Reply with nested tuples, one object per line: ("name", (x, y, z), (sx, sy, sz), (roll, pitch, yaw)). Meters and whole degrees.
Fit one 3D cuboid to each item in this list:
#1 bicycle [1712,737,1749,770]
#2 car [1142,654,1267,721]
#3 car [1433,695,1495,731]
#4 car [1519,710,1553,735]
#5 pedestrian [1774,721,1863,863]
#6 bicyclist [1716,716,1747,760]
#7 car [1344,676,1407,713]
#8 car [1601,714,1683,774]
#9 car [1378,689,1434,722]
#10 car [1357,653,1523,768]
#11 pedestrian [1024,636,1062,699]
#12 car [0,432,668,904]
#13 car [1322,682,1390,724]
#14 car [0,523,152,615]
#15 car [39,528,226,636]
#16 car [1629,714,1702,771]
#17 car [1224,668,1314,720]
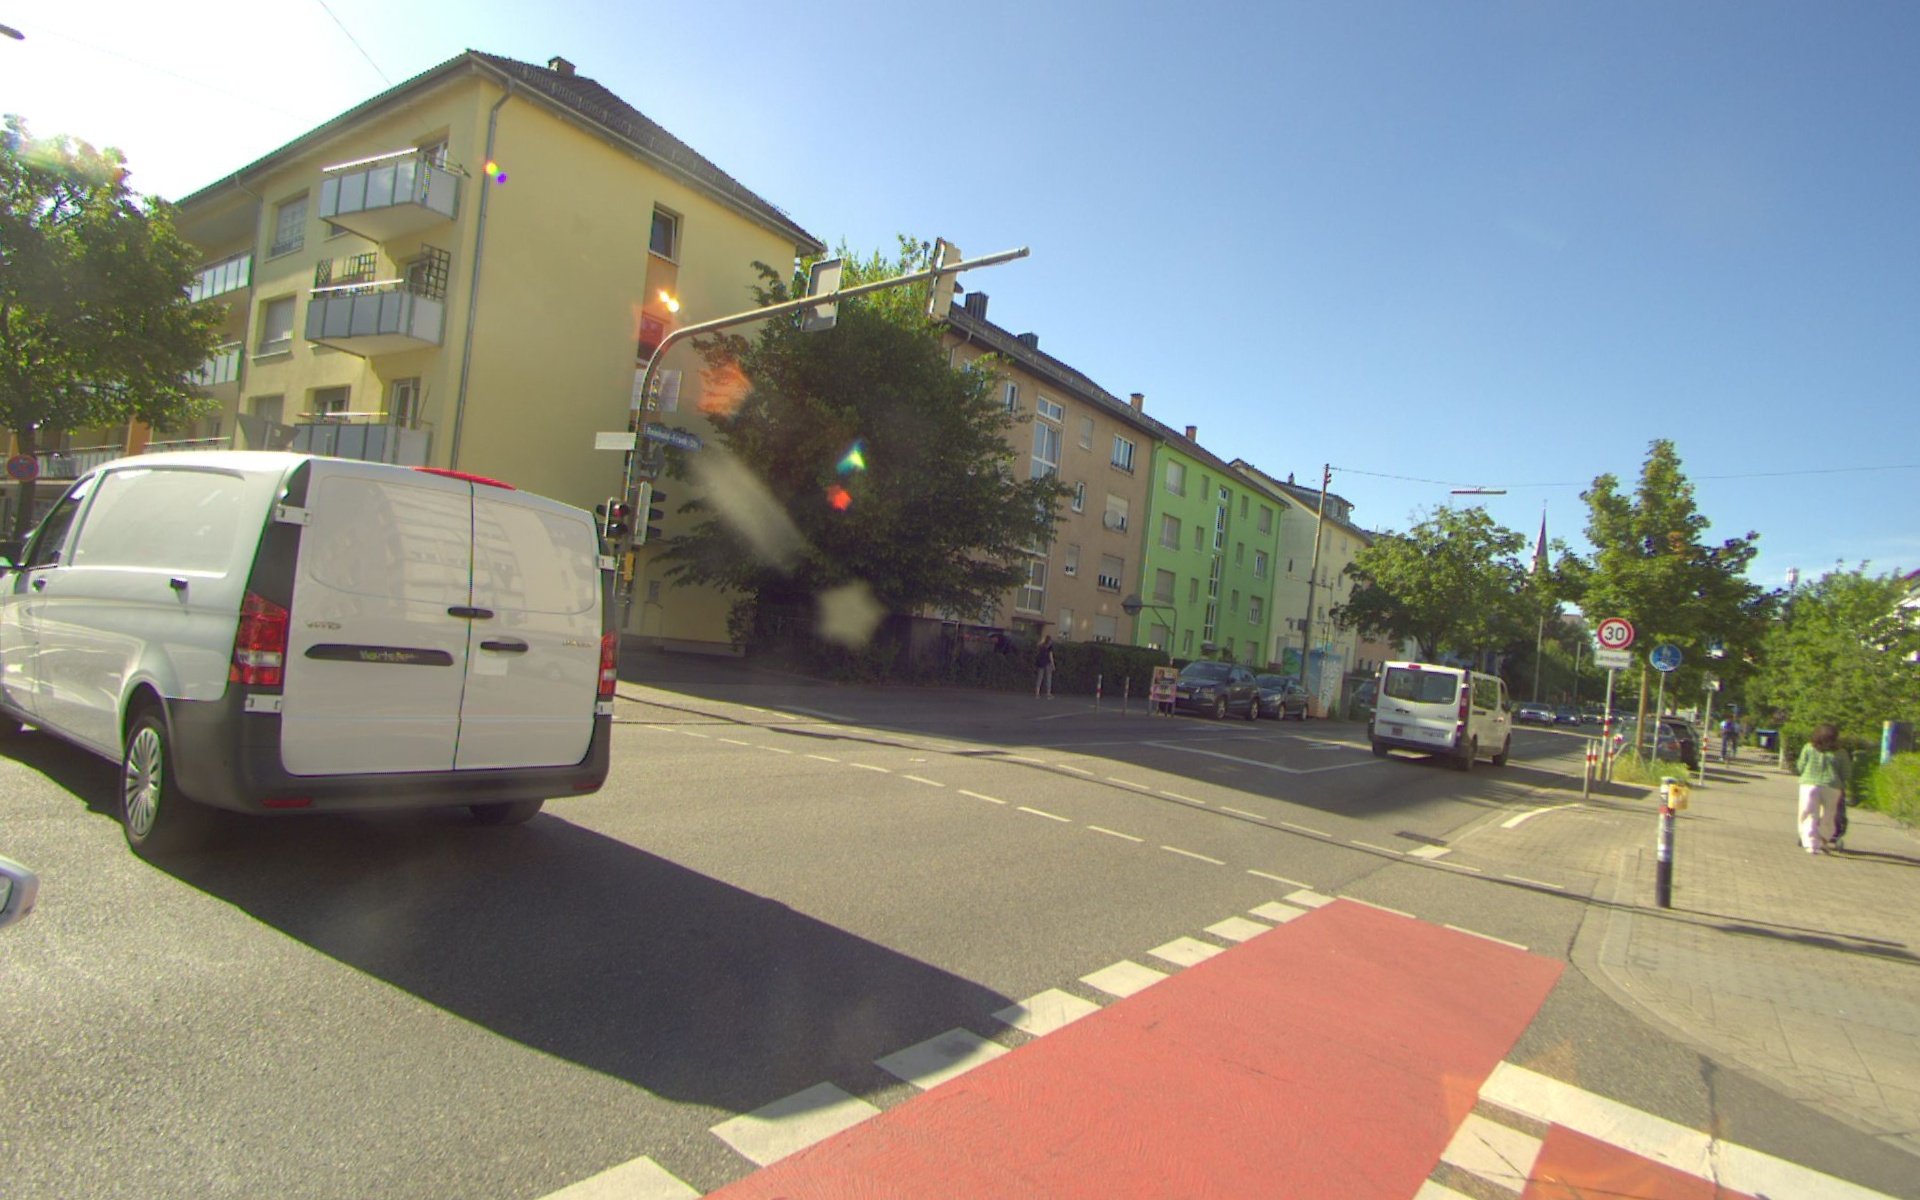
("bicycle", (26.755, 5.307, 34.960), (0.643, 0.961, 2.003), (6, -2, 30))
("car", (7.120, 2.556, 29.038), (1.970, 1.592, 3.988), (6, -2, 37))
("car", (23.335, 5.226, 46.484), (1.842, 1.392, 3.988), (4, -3, 37))
("car", (39.775, 8.446, 69.458), (1.659, 1.428, 3.513), (6, -2, 35))
("pedestrian", (10.826, 2.392, 12.705), (0.635, 1.637, 0.593), (6, -1, 32))
("bicyclist", (26.812, 4.787, 34.973), (0.643, 1.380, 0.882), (6, -1, 30))
("car", (18.465, 4.221, 44.643), (1.660, 1.352, 3.511), (6, -2, 38))
("car", (19.261, 4.007, 28.344), (1.688, 1.329, 3.989), (6, -2, 36))
("car", (21.828, 5.170, 49.208), (1.660, 1.352, 3.512), (6, -2, 37))
("car", (10.317, 2.417, 21.402), (1.946, 1.961, 5.040), (5, -4, 39))
("pedestrian", (2.239, 1.818, 27.076), (0.638, 1.605, 0.568), (6, -1, 44))
("car", (-4.175, 0.184, 6.075), (4.758, 1.831, 1.969), (5, -2, 36))
("car", (16.323, 4.263, 41.408), (1.660, 1.428, 3.512), (6, -2, 37))
("car", (-18.209, -0.657, 20.629), (3.330, 1.501, 1.713), (6, -2, 37))
("car", (-14.663, -0.332, 17.781), (3.427, 1.501, 1.713), (6, -2, 37))
("car", (22.664, 4.528, 32.284), (1.688, 1.470, 3.988), (6, -2, 37))
("car", (10.277, 3.120, 33.275), (1.660, 1.428, 3.512), (6, -2, 37))
